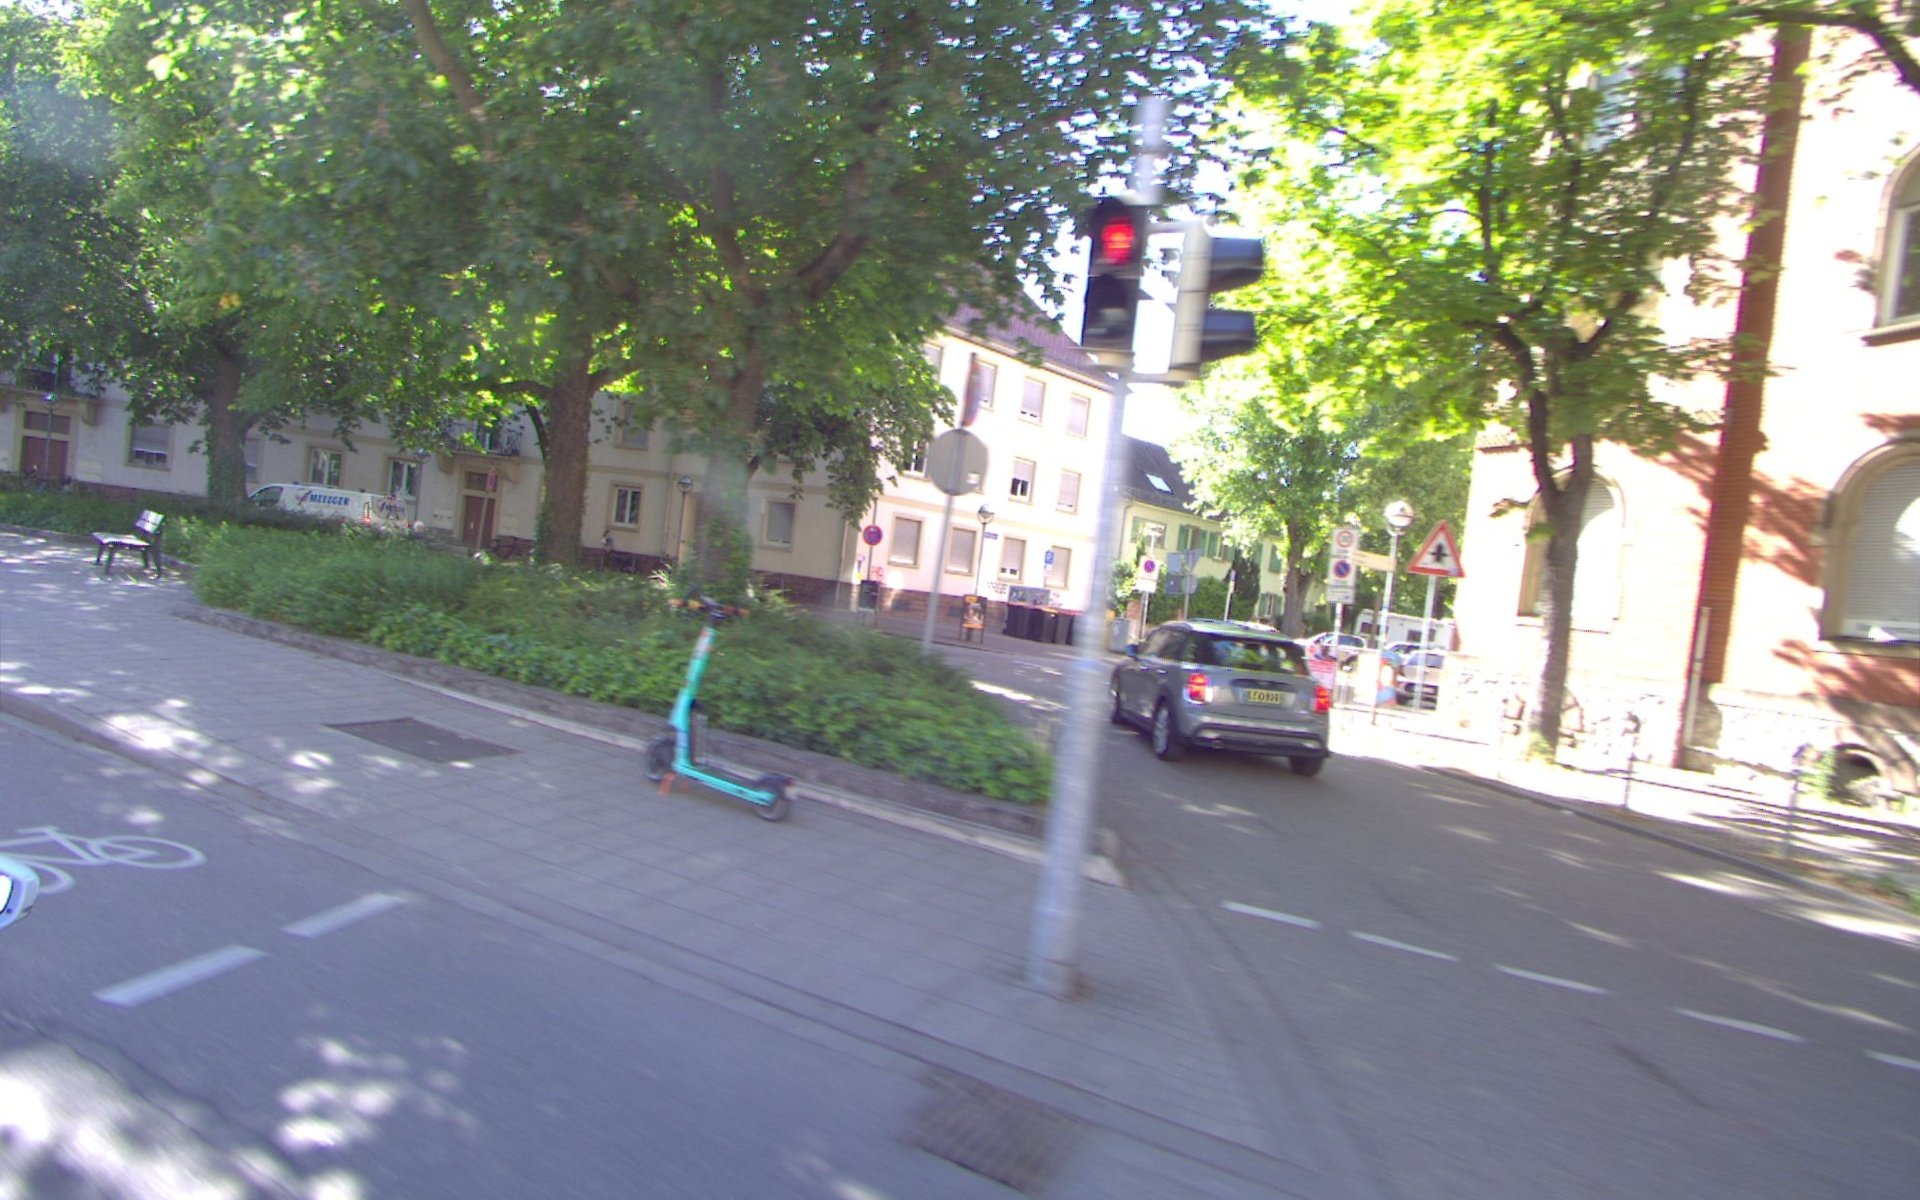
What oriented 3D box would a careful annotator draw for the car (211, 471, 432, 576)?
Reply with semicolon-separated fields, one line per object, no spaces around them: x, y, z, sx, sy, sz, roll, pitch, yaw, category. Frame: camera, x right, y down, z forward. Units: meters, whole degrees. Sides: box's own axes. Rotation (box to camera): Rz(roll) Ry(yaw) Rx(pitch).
-18.008;-2.127;28.519;4.850;2.235;2.126;7;0;6;car

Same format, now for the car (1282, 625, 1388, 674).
15.781;2.084;42.430;3.747;1.544;1.596;7;0;39;car

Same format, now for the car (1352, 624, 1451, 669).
20.206;2.125;46.086;3.747;1.544;1.596;7;0;39;car

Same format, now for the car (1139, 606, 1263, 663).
8.322;1.181;34.935;3.747;1.495;1.596;7;0;39;car

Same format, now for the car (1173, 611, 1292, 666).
9.916;1.403;36.767;3.747;1.495;1.596;7;0;39;car

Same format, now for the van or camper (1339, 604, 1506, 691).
22.743;2.271;49.719;2.615;3.427;6.691;7;0;-44;van or camper

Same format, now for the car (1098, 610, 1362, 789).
2.865;0.982;11.663;1.788;1.506;4.000;7;-1;-1;car

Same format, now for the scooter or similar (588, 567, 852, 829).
-1.458;0.548;6.095;1.305;1.326;0.677;7;0;28;scooter or similar
